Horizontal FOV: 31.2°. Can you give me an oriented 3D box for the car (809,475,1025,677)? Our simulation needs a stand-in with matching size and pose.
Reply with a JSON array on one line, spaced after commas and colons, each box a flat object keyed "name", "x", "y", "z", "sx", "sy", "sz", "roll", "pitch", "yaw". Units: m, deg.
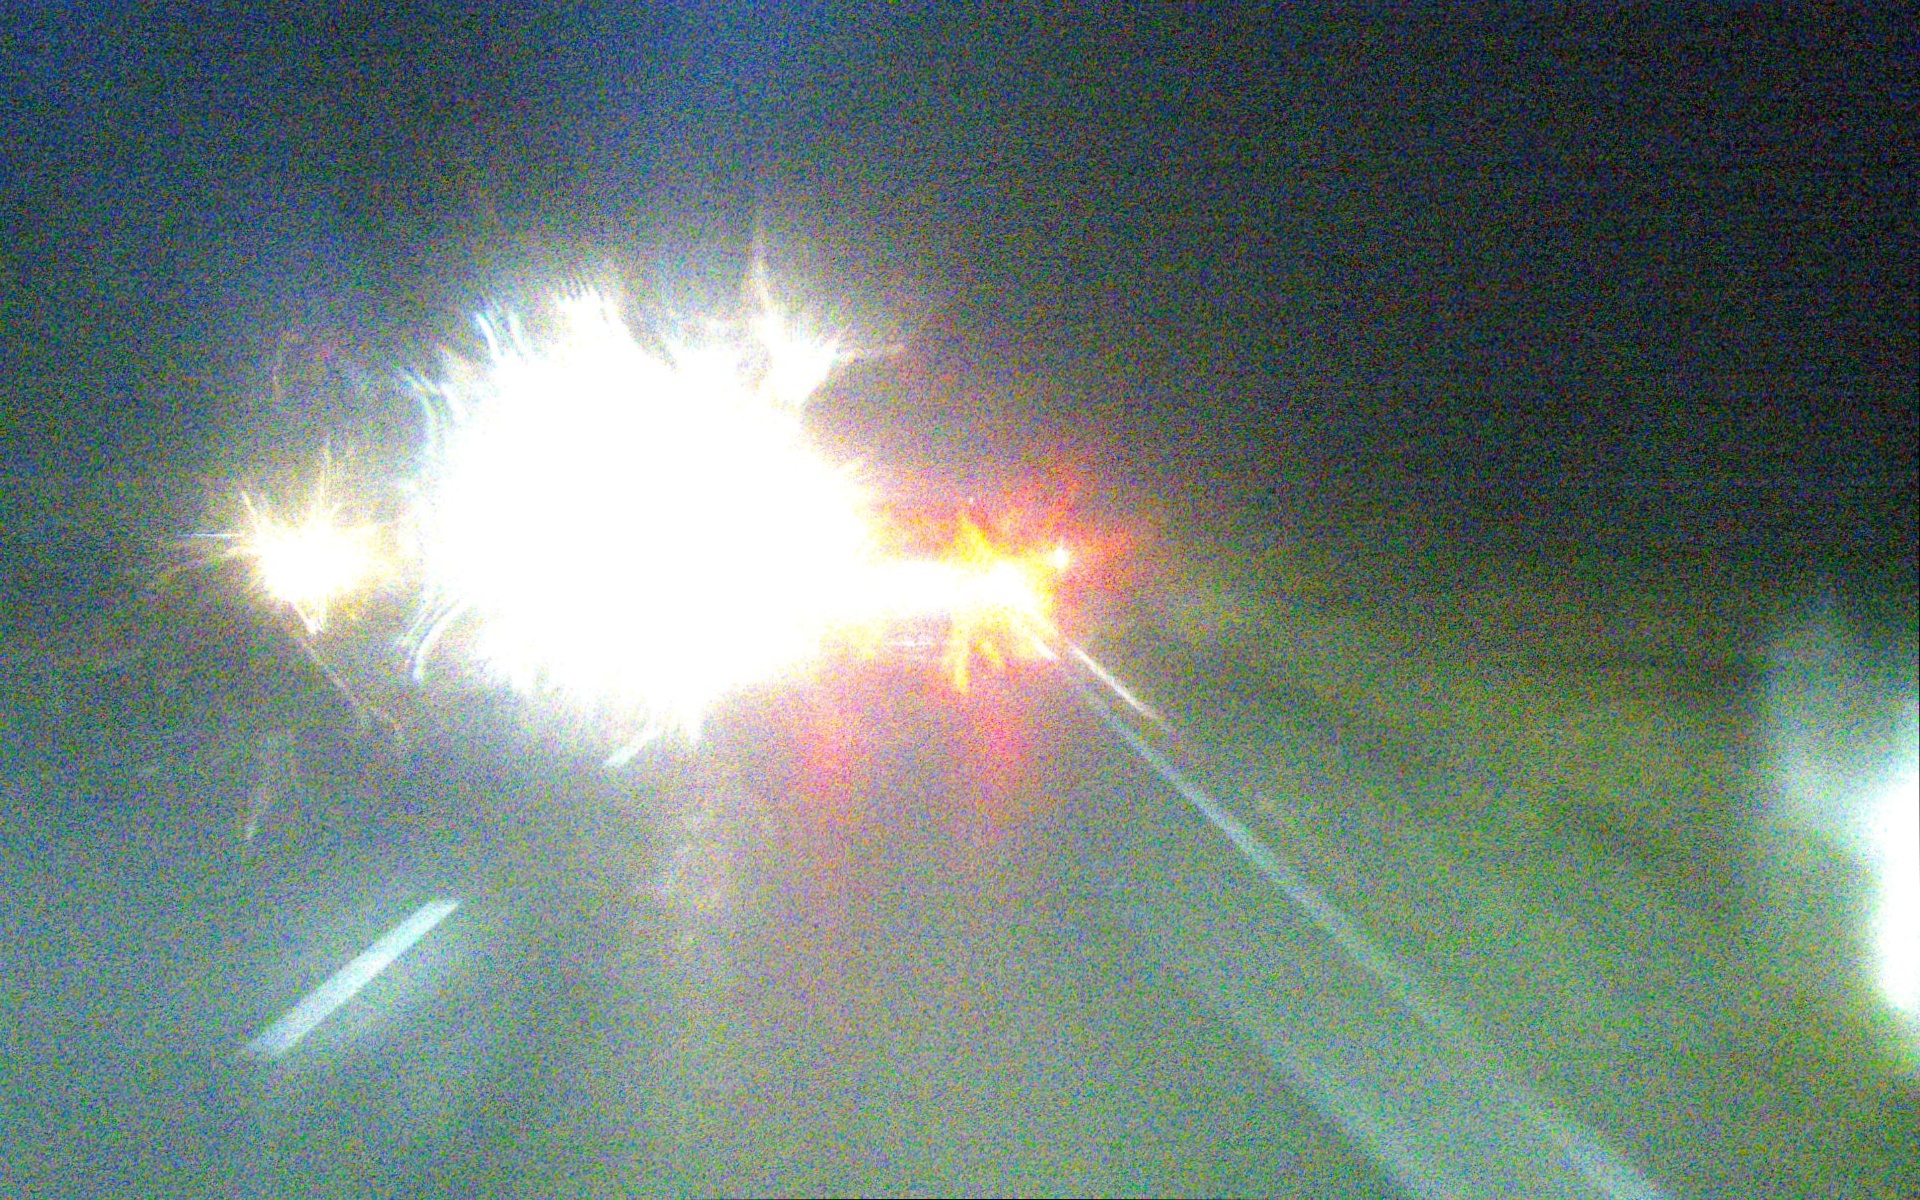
[{"name": "car", "x": -0.408, "y": -0.293, "z": 33.732, "sx": 1.993, "sy": 1.800, "sz": 3.918, "roll": 0, "pitch": 3, "yaw": 0}]
